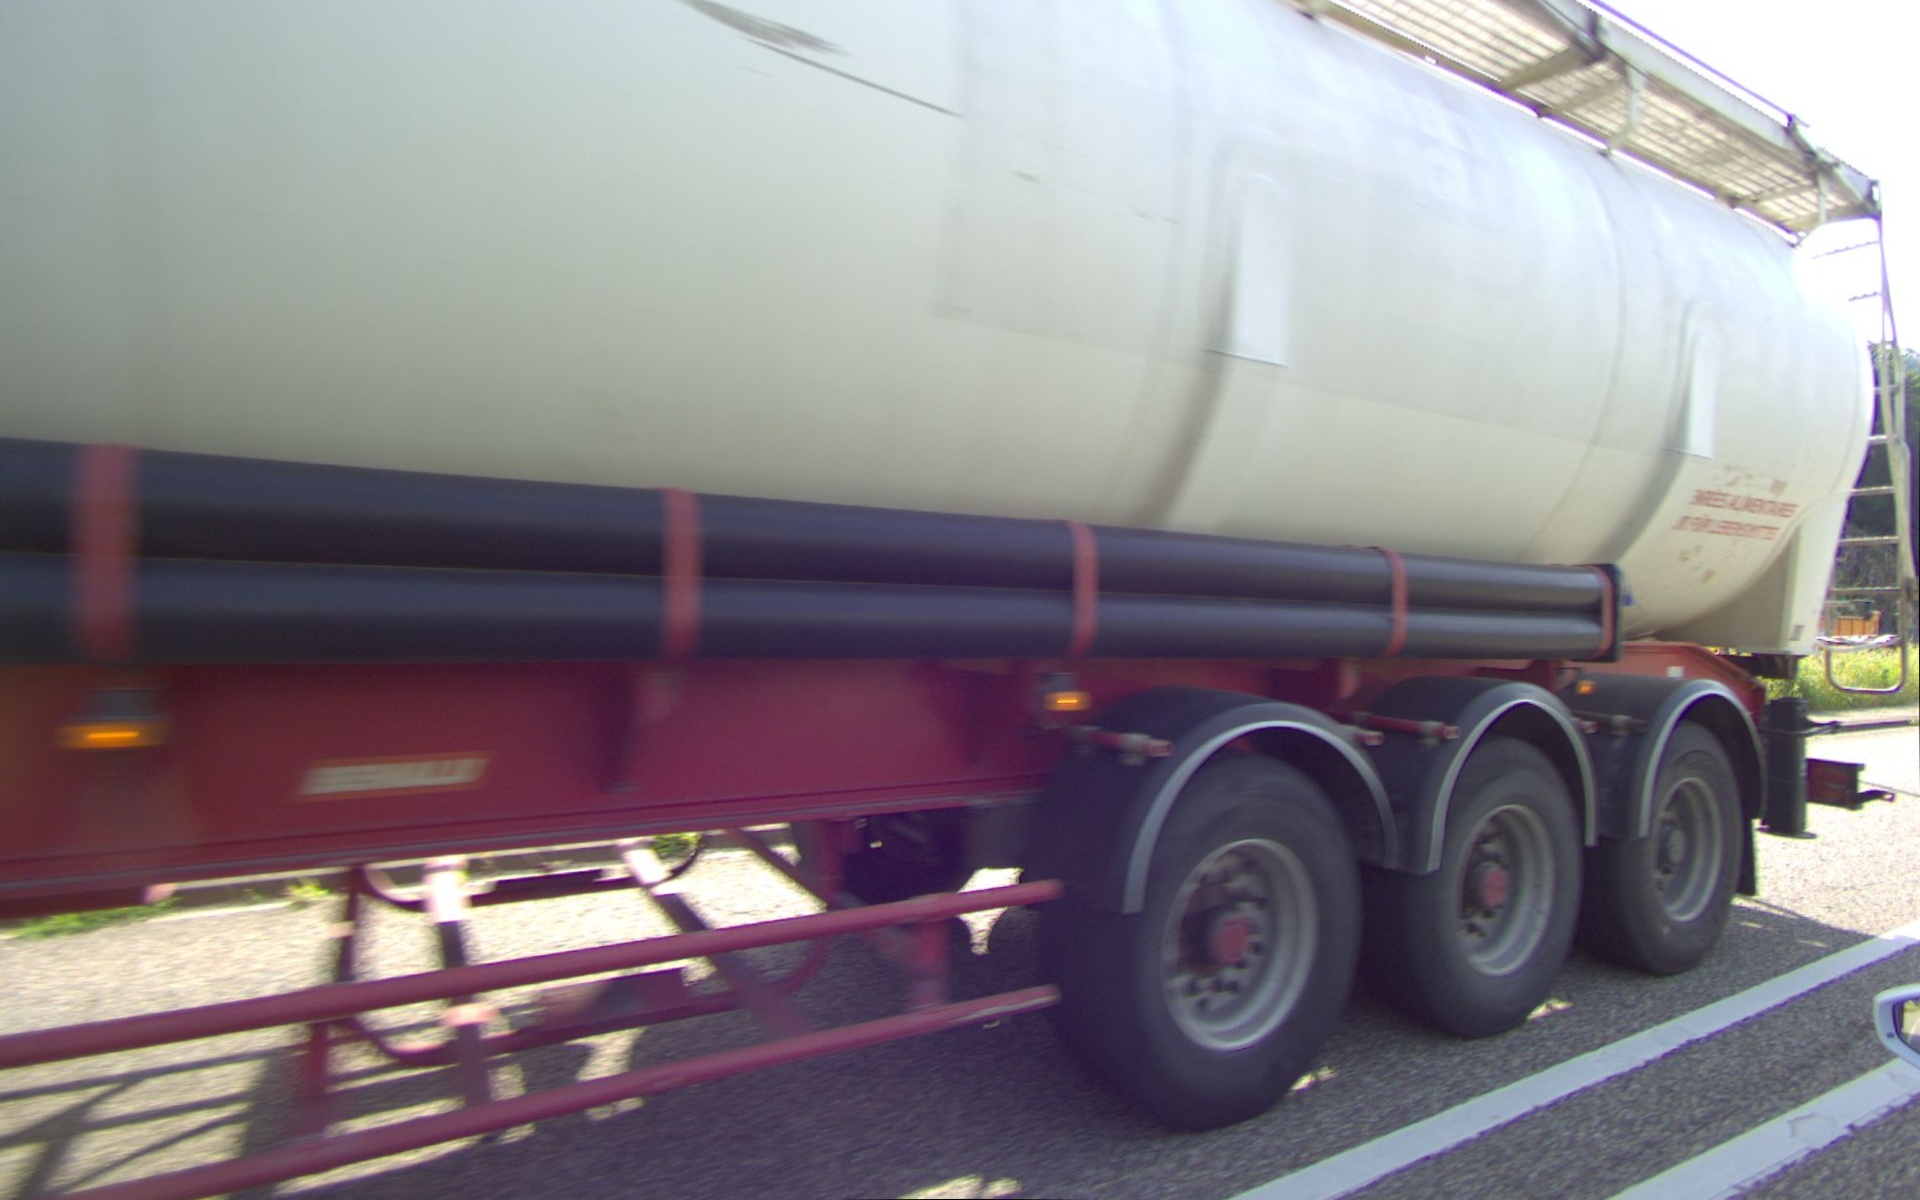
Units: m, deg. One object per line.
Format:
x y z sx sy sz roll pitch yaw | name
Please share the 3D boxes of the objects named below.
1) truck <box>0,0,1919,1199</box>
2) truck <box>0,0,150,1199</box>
-0.286 -0.498 3.613 14.396 3.886 2.736 1 -1 -32 | truck
-5.660 -0.618 0.264 8.105 3.886 2.736 1 -1 -32 | truck
